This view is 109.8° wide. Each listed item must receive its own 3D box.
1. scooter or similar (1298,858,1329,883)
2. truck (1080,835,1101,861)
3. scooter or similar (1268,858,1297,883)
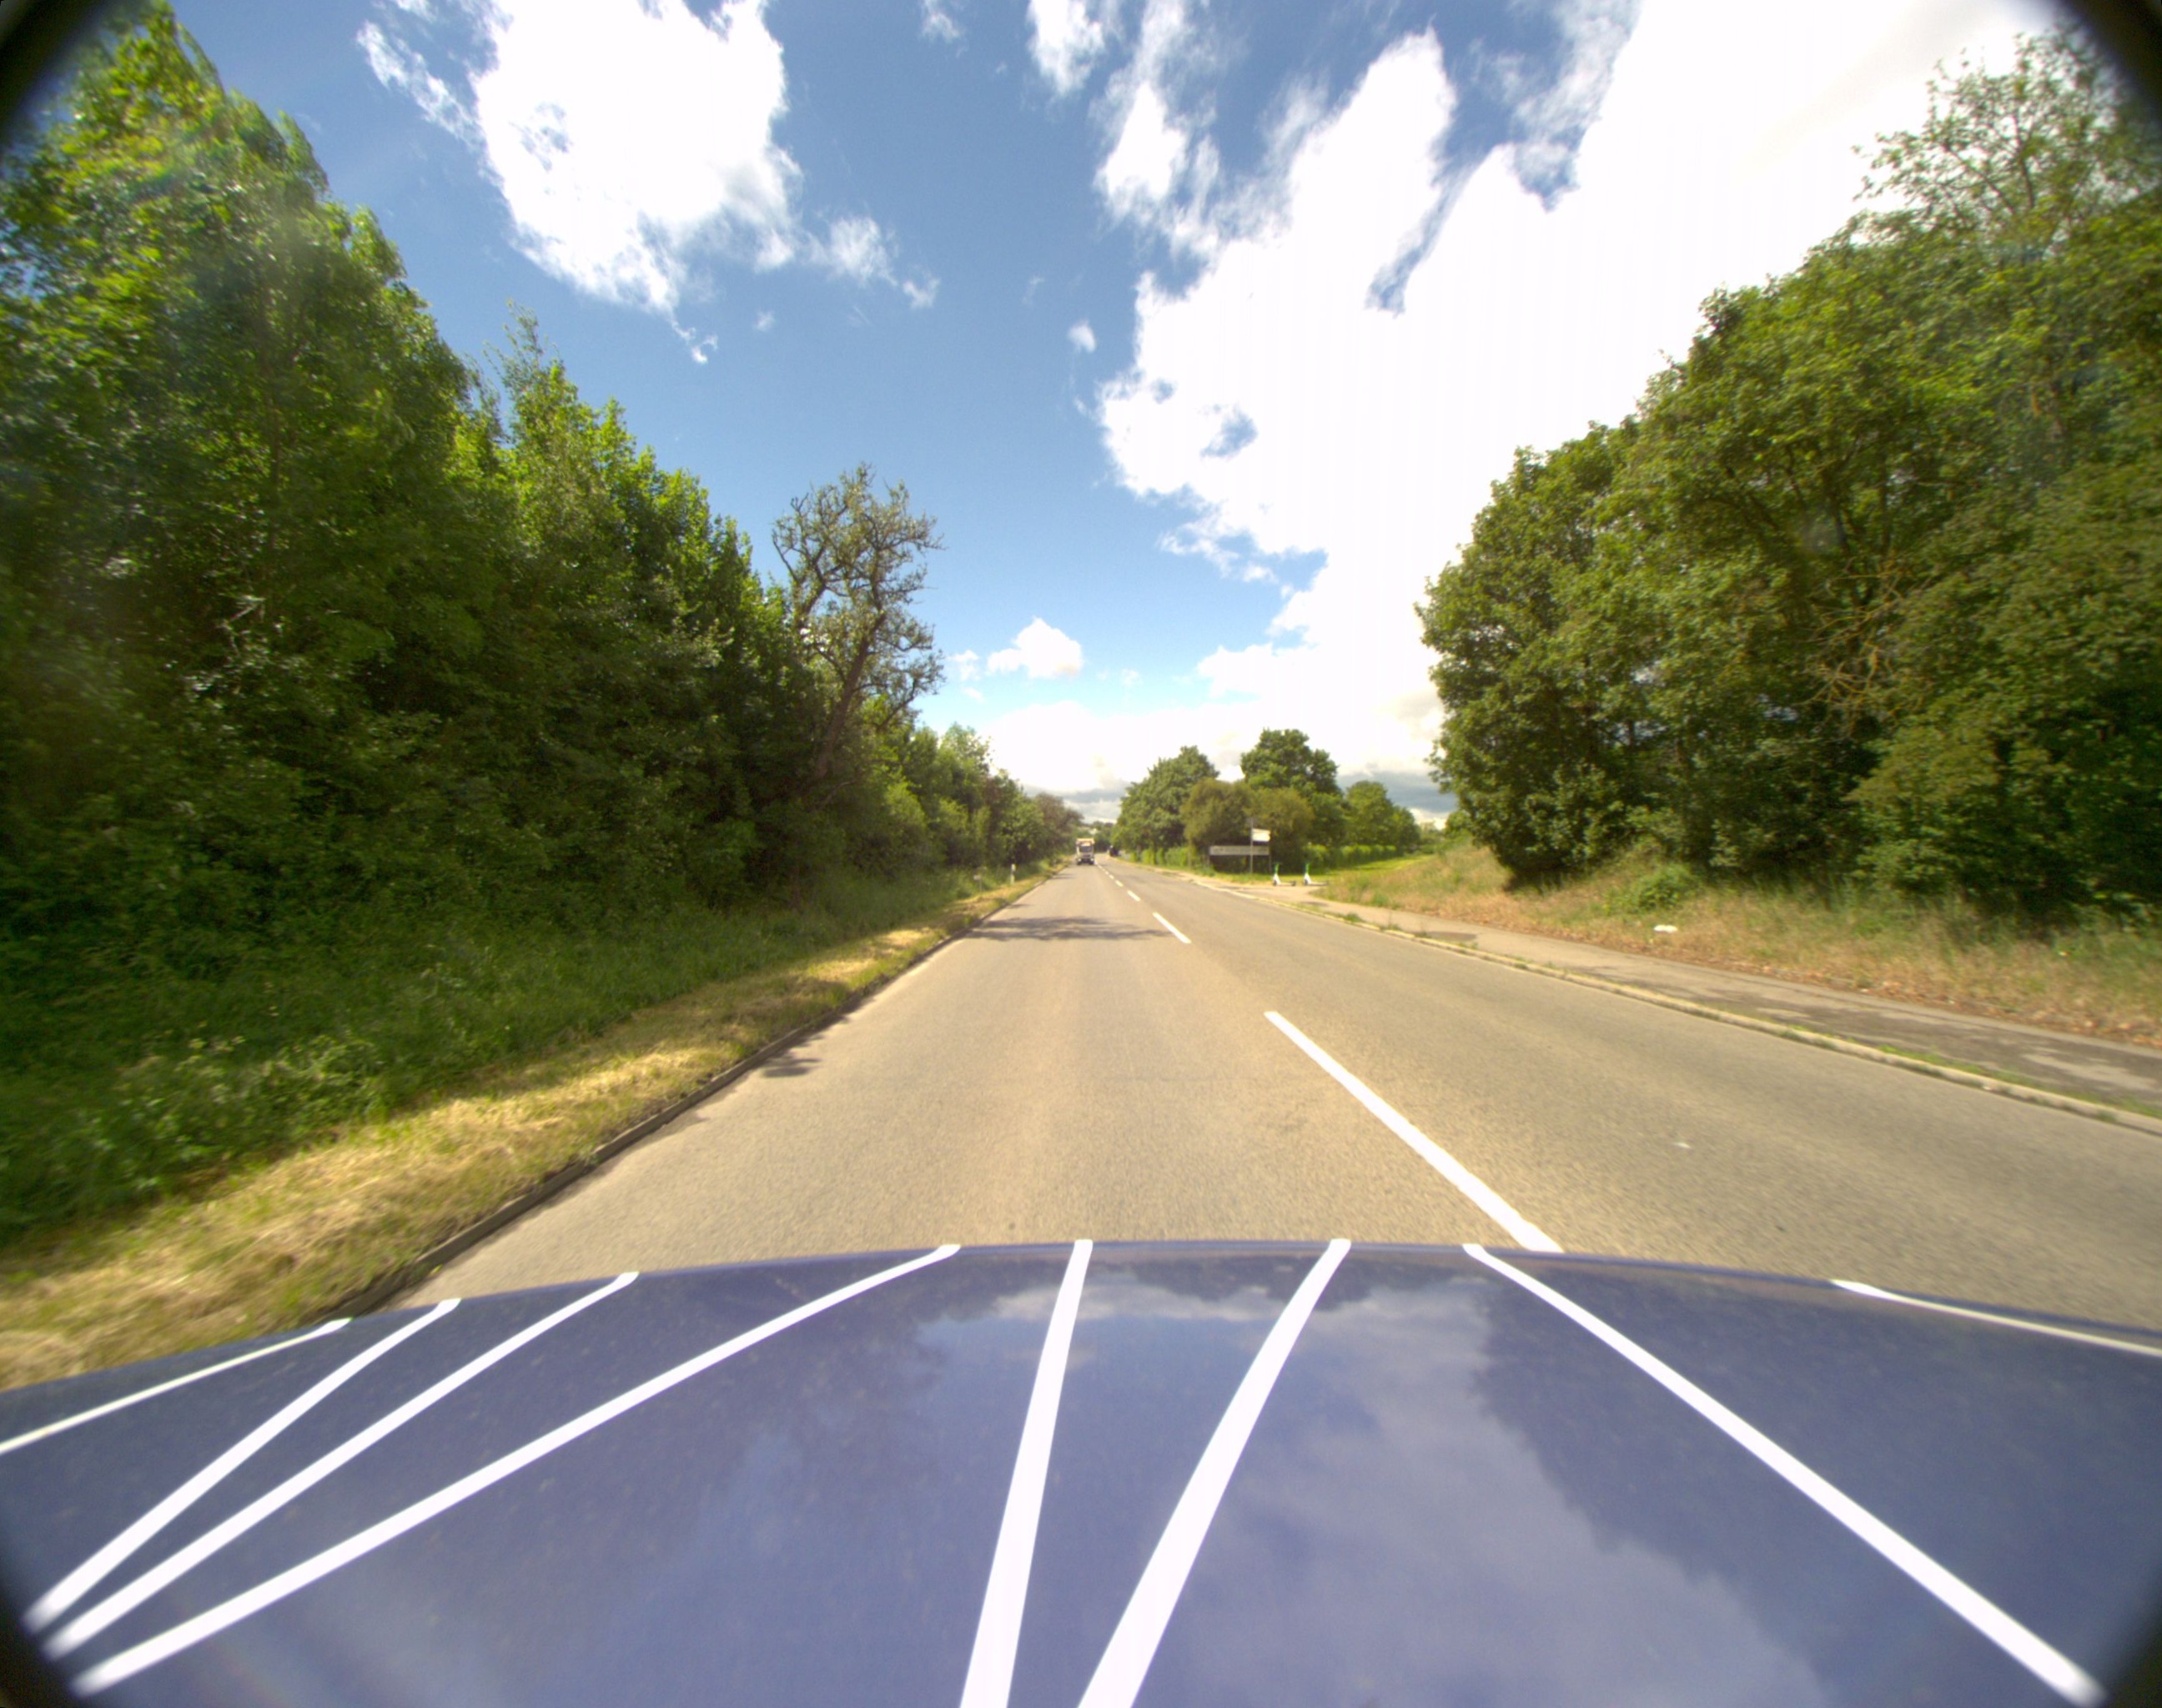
[{"bbox_3d":[11.088,0.763,36.207,1.347,1.162,0.408,-1,1,41],"label":"scooter or similar"},{"bbox_3d":[1.281,-0.897,111.660,2.905,3.746,9.633,0,1,0],"label":"truck"},{"bbox_3d":[9.784,0.799,36.881,0.408,1.162,1.347,-2,1,-43],"label":"scooter or similar"}]
